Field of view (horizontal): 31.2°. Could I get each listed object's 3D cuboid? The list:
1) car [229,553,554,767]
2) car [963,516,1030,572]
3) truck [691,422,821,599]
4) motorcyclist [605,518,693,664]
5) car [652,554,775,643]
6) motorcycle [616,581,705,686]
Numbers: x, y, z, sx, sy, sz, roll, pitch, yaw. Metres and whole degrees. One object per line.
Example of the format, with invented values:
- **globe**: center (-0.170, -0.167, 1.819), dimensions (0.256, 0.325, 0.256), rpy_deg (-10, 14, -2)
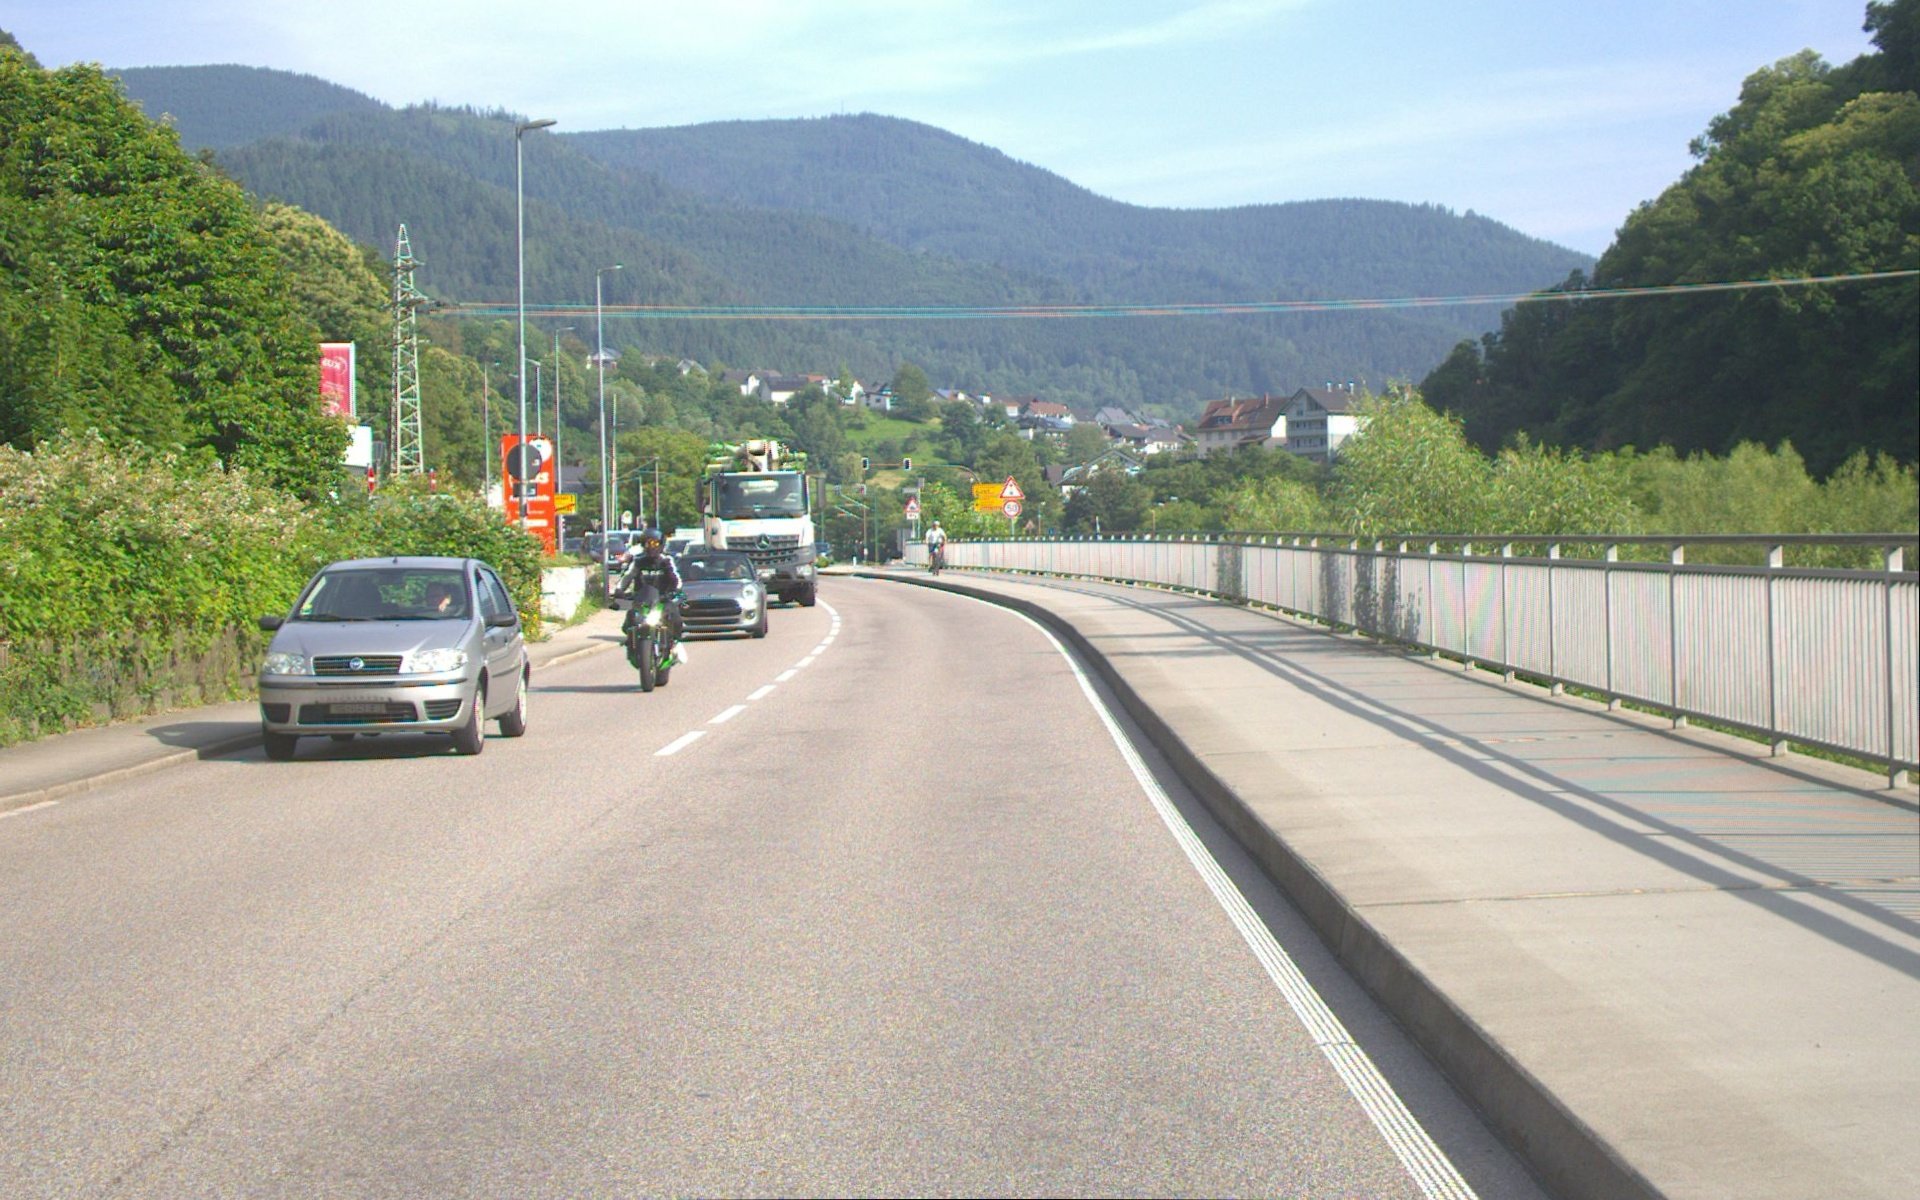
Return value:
- **car**: center (-4.249, 0.395, 26.261), dimensions (1.630, 1.480, 4.000), rpy_deg (-1, 1, 3)
- **car**: center (1.173, -1.847, 112.057), dimensions (1.749, 1.498, 4.191), rpy_deg (-10, 2, -2)
- **truck**: center (-5.036, -2.101, 82.974), dimensions (2.577, 3.918, 11.308), rpy_deg (-2, 1, -6)
- **motorcyclist**: center (-3.363, -0.100, 37.197), dimensions (0.825, 1.553, 0.628), rpy_deg (-1, 0, 4)
- **car**: center (-4.061, -0.044, 57.135), dimensions (1.713, 1.398, 4.000), rpy_deg (-1, 1, 0)
- **motorcycle**: center (-3.234, 0.348, 37.284), dimensions (0.654, 1.064, 2.182), rpy_deg (-1, 1, 3)
